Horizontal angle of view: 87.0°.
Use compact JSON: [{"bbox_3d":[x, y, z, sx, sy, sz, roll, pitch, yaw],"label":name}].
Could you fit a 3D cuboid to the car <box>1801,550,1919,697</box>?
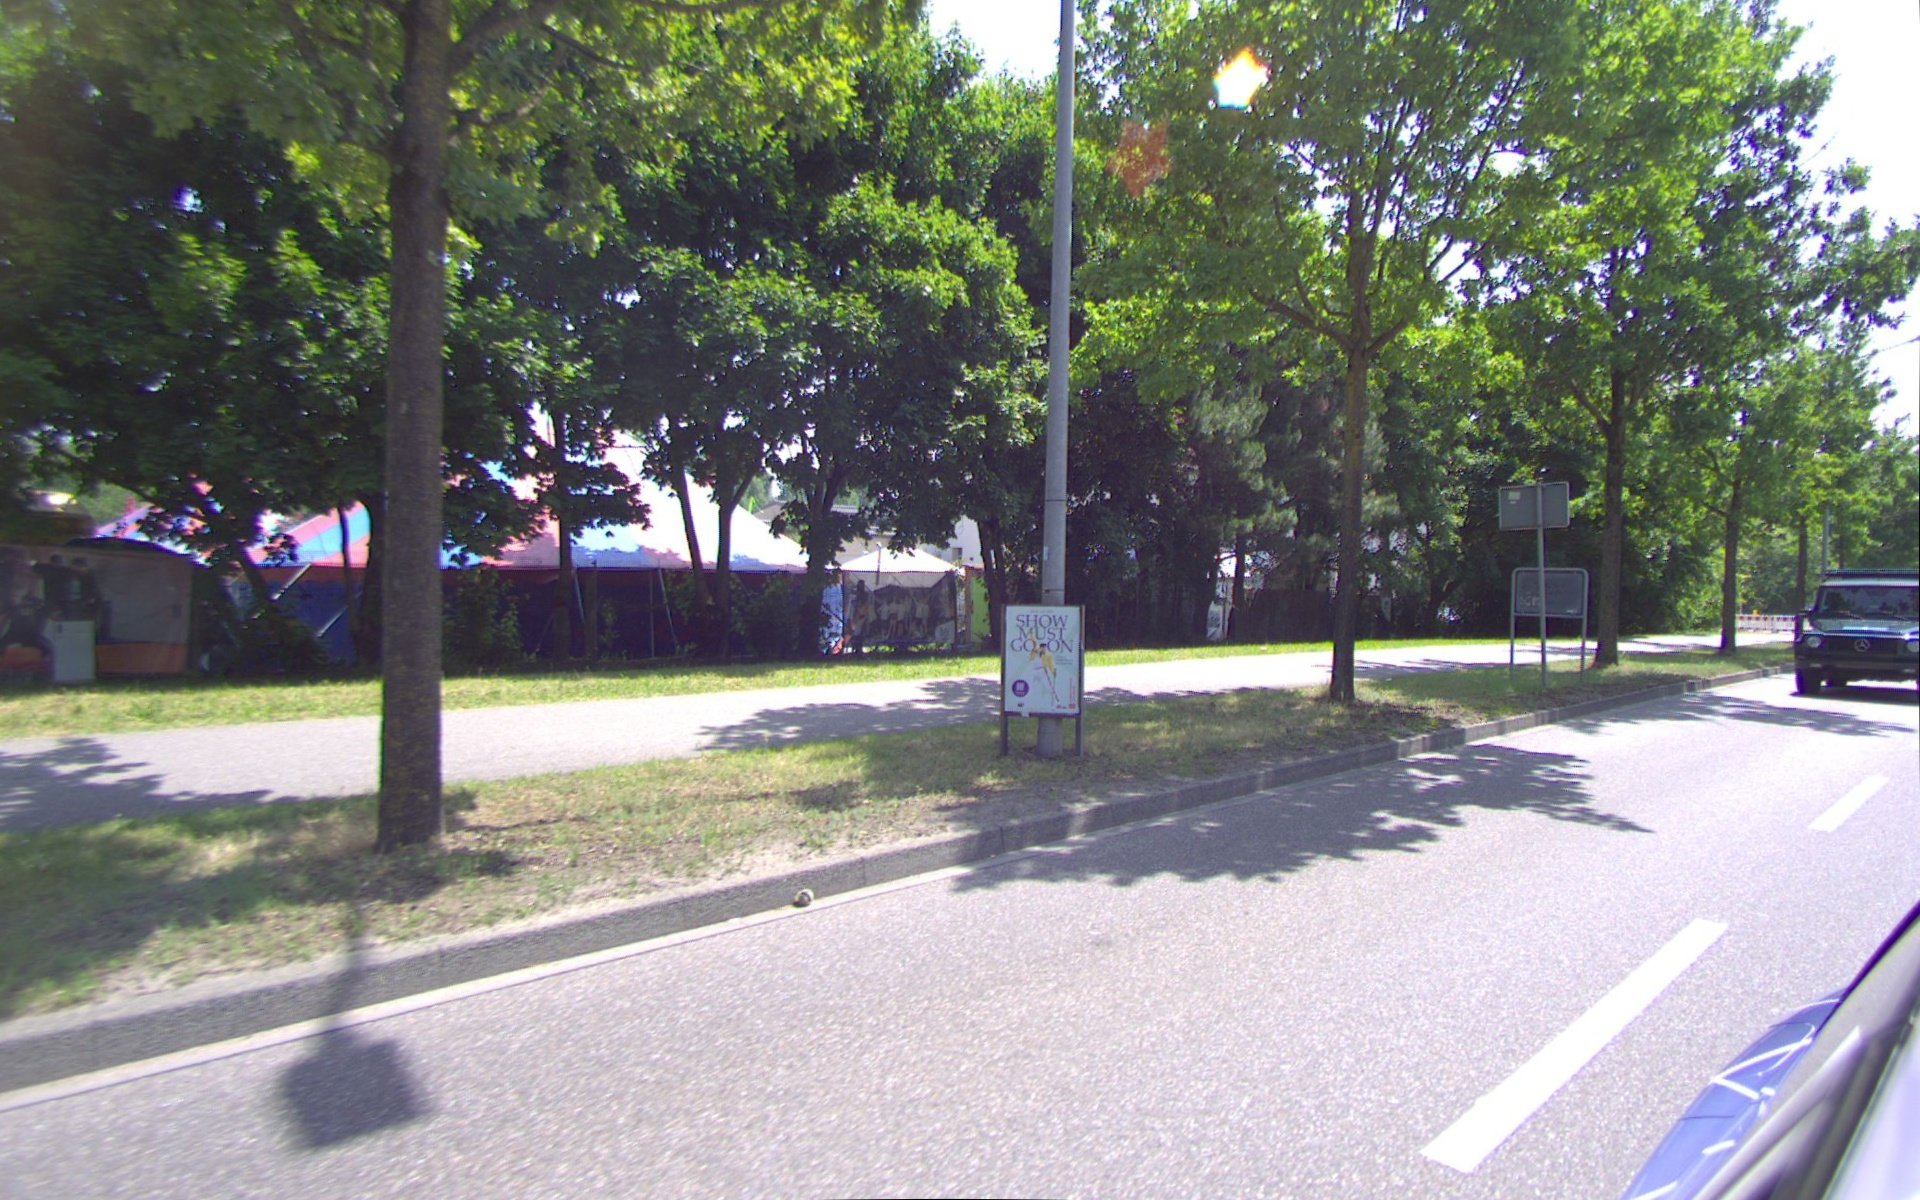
[{"bbox_3d":[15.657,0.344,16.916,4.480,2.180,1.839,0,1,-42],"label":"car"}]
